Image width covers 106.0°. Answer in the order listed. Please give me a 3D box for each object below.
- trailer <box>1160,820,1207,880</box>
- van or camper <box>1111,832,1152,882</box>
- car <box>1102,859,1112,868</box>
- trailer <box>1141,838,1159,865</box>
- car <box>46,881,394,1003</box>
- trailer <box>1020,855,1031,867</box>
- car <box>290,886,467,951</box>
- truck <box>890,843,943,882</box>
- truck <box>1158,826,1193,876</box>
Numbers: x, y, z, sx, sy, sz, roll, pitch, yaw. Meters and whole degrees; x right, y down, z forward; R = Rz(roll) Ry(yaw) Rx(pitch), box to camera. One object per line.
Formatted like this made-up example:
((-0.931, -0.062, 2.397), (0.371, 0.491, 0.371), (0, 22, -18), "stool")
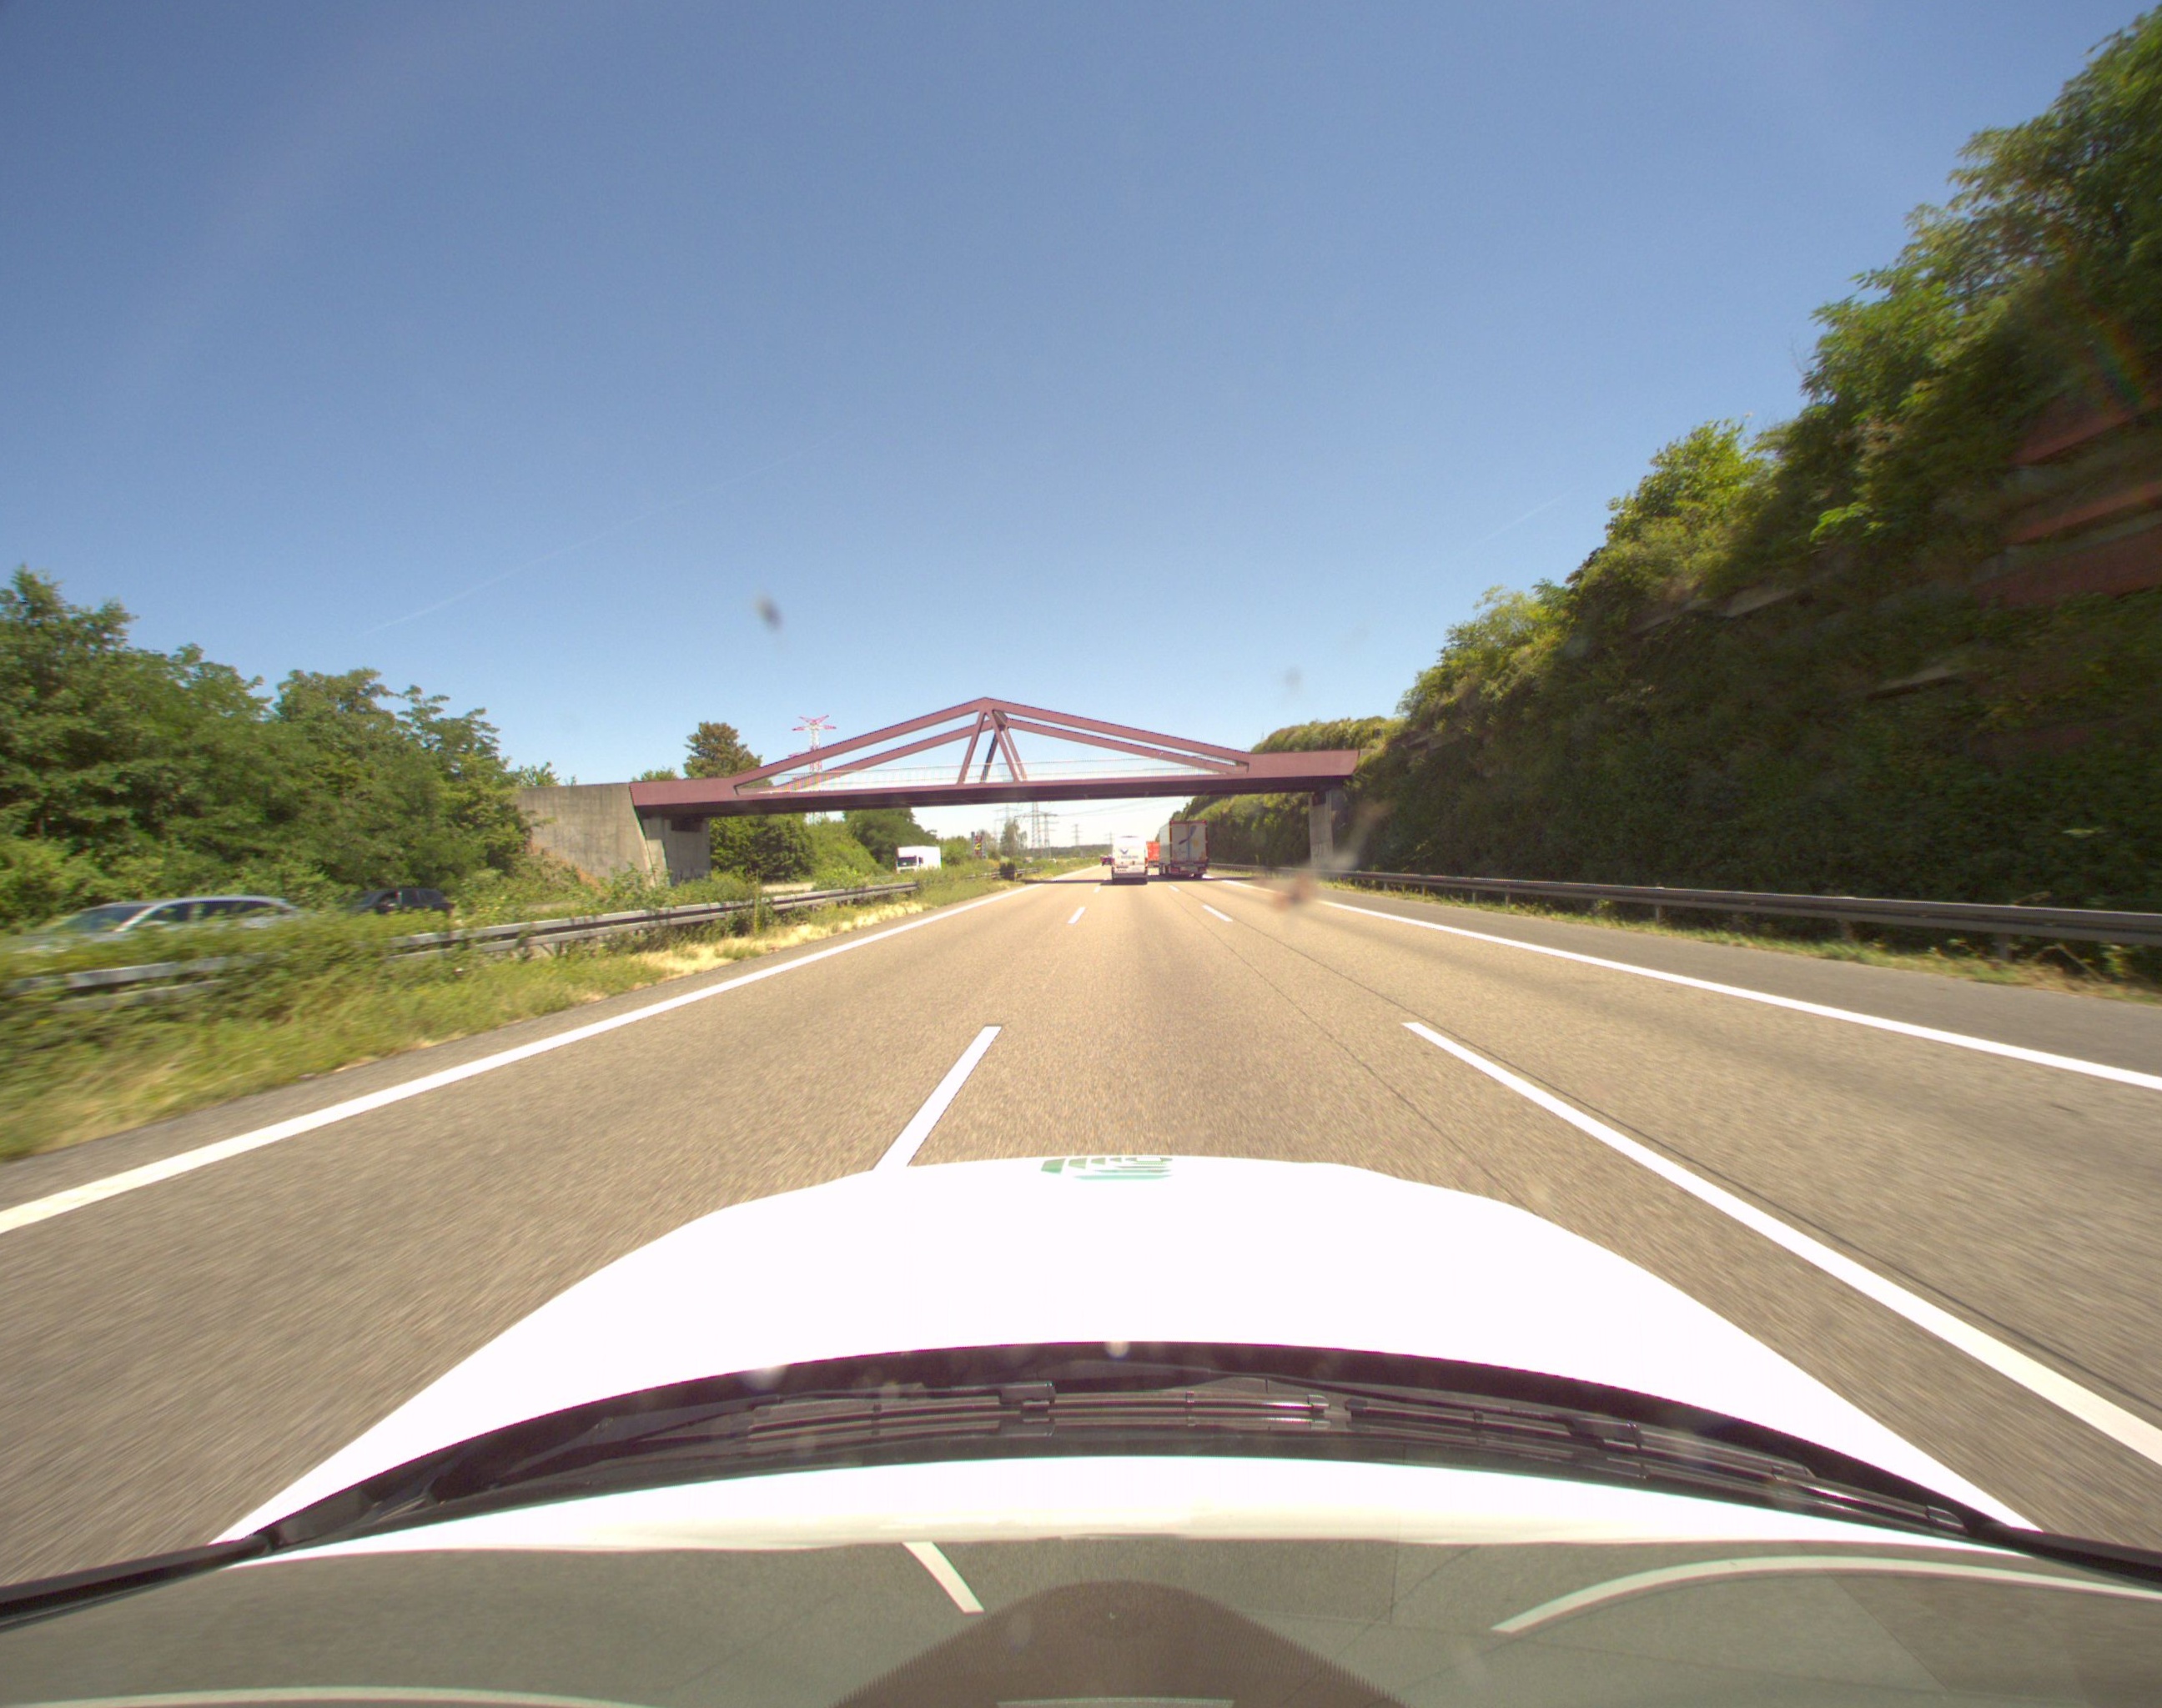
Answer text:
((7.561, -0.295, 61.485), (2.626, 4.060, 12.375), (0, 0, 3), "trailer")
((2.883, 0.160, 47.390), (2.221, 2.782, 5.425), (0, 0, 2), "van or camper")
((5.395, 1.857, 166.844), (1.973, 1.817, 3.817), (0, 0, 4), "car")
((10.558, -0.372, 125.238), (2.626, 3.897, 7.074), (0, 0, 3), "trailer")
((-15.360, 1.453, 14.947), (1.693, 1.768, 4.239), (0, 0, 4), "car")
((-12.232, 1.578, 179.689), (1.792, 2.618, 4.413), (0, 0, 4), "trailer")
((-22.534, 2.004, 26.391), (1.693, 1.768, 4.407), (0, 0, 4), "car")
((-16.671, 0.837, 83.310), (2.797, 3.537, 10.193), (-3, 0, 2), "truck")
((7.939, -0.271, 69.056), (2.626, 4.060, 5.804), (0, 0, 3), "truck")
